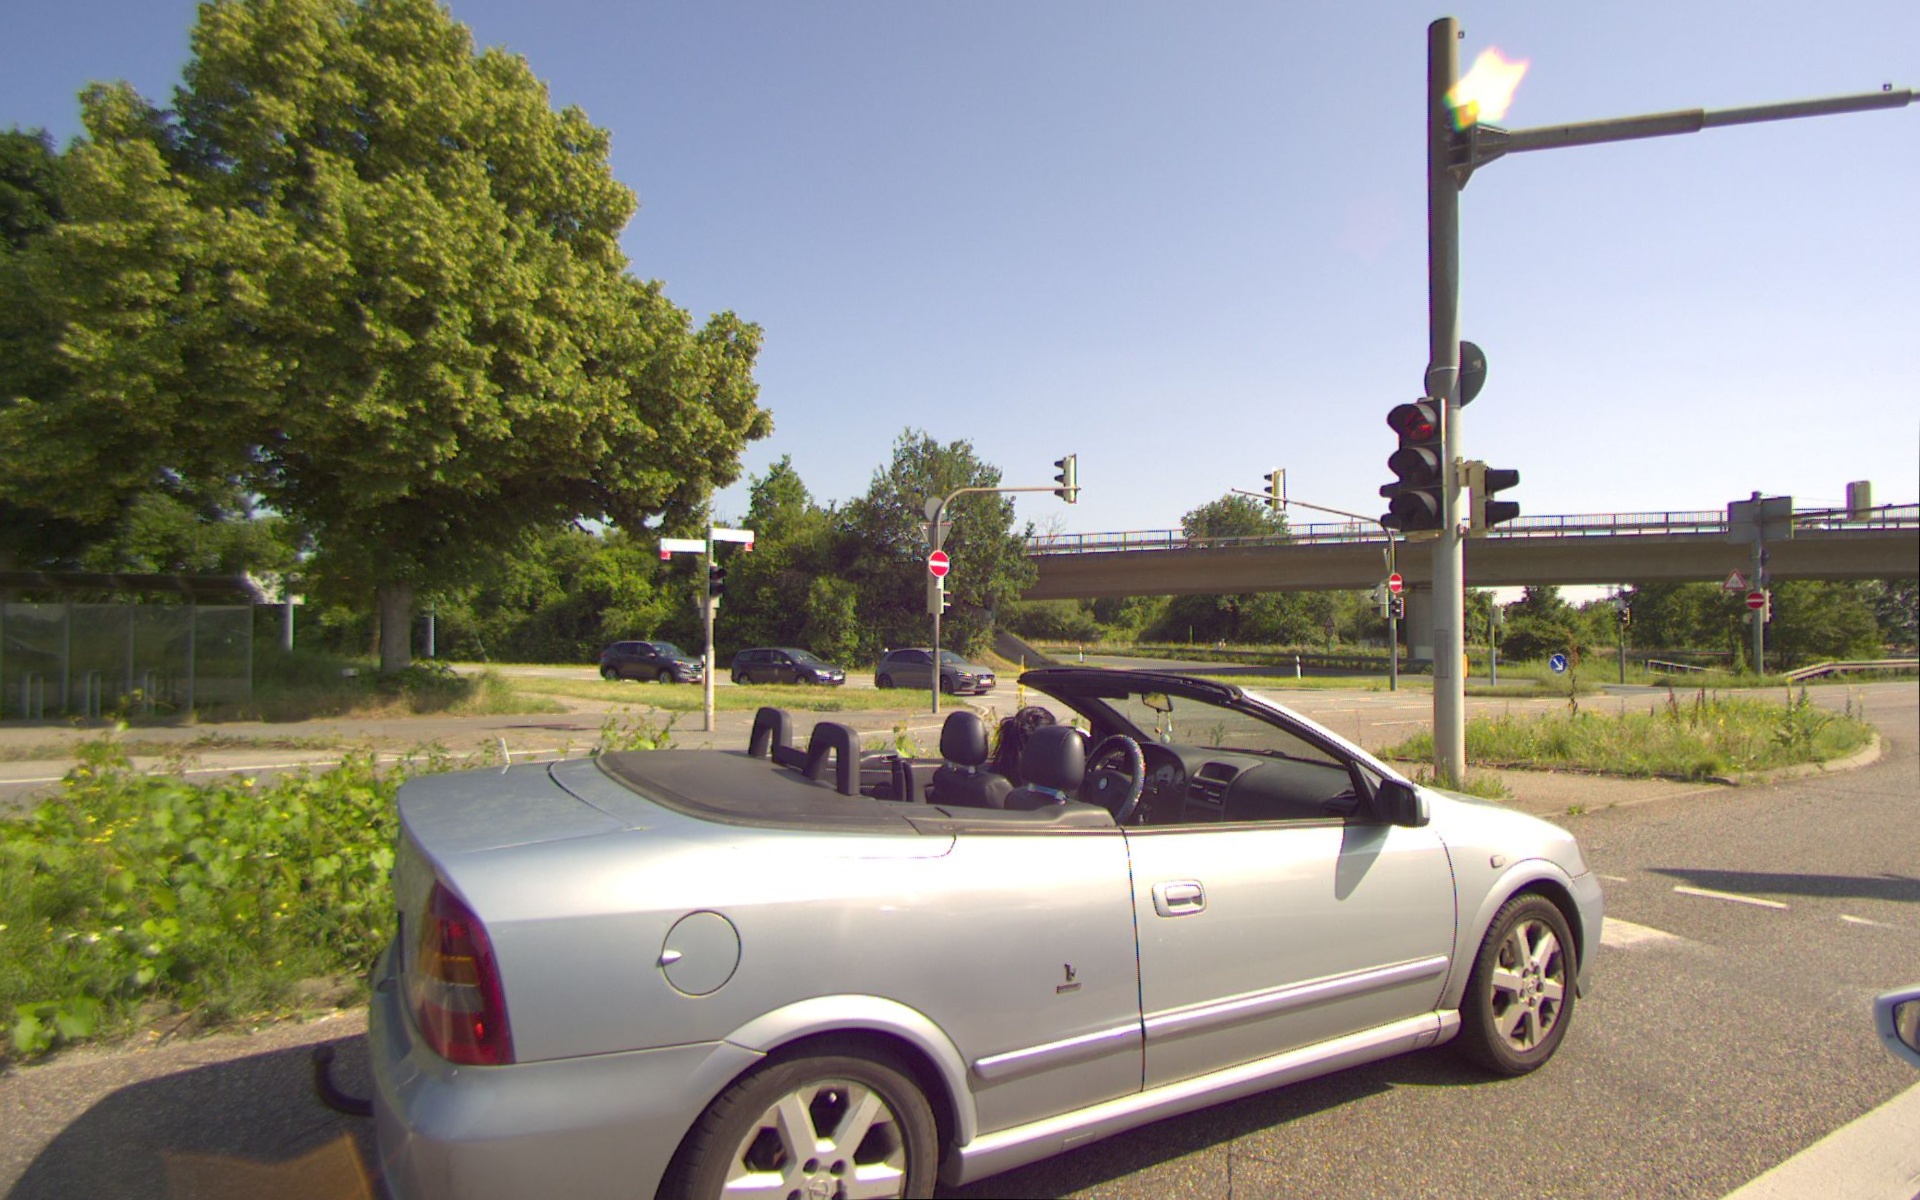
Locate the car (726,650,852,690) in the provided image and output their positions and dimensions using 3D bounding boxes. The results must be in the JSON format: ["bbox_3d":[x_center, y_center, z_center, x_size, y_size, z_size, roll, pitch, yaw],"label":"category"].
[{"bbox_3d":[-6.006,2.420,35.124,4.276,1.297,1.648,-1,-2,30],"label":"car"}]

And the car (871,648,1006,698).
[{"bbox_3d":[-0.718,2.232,31.624,4.066,1.443,1.862,-2,-3,41],"label":"car"}]

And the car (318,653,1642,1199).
[{"bbox_3d":[0.315,0.874,3.362,4.049,1.352,1.666,1,-3,-30],"label":"car"}]

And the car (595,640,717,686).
[{"bbox_3d":[-11.366,2.322,37.564,4.270,1.616,1.651,-1,-2,22],"label":"car"}]

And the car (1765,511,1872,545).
[{"bbox_3d":[43.097,-3.621,50.489,3.674,1.489,1.745,2,0,9],"label":"car"}]
